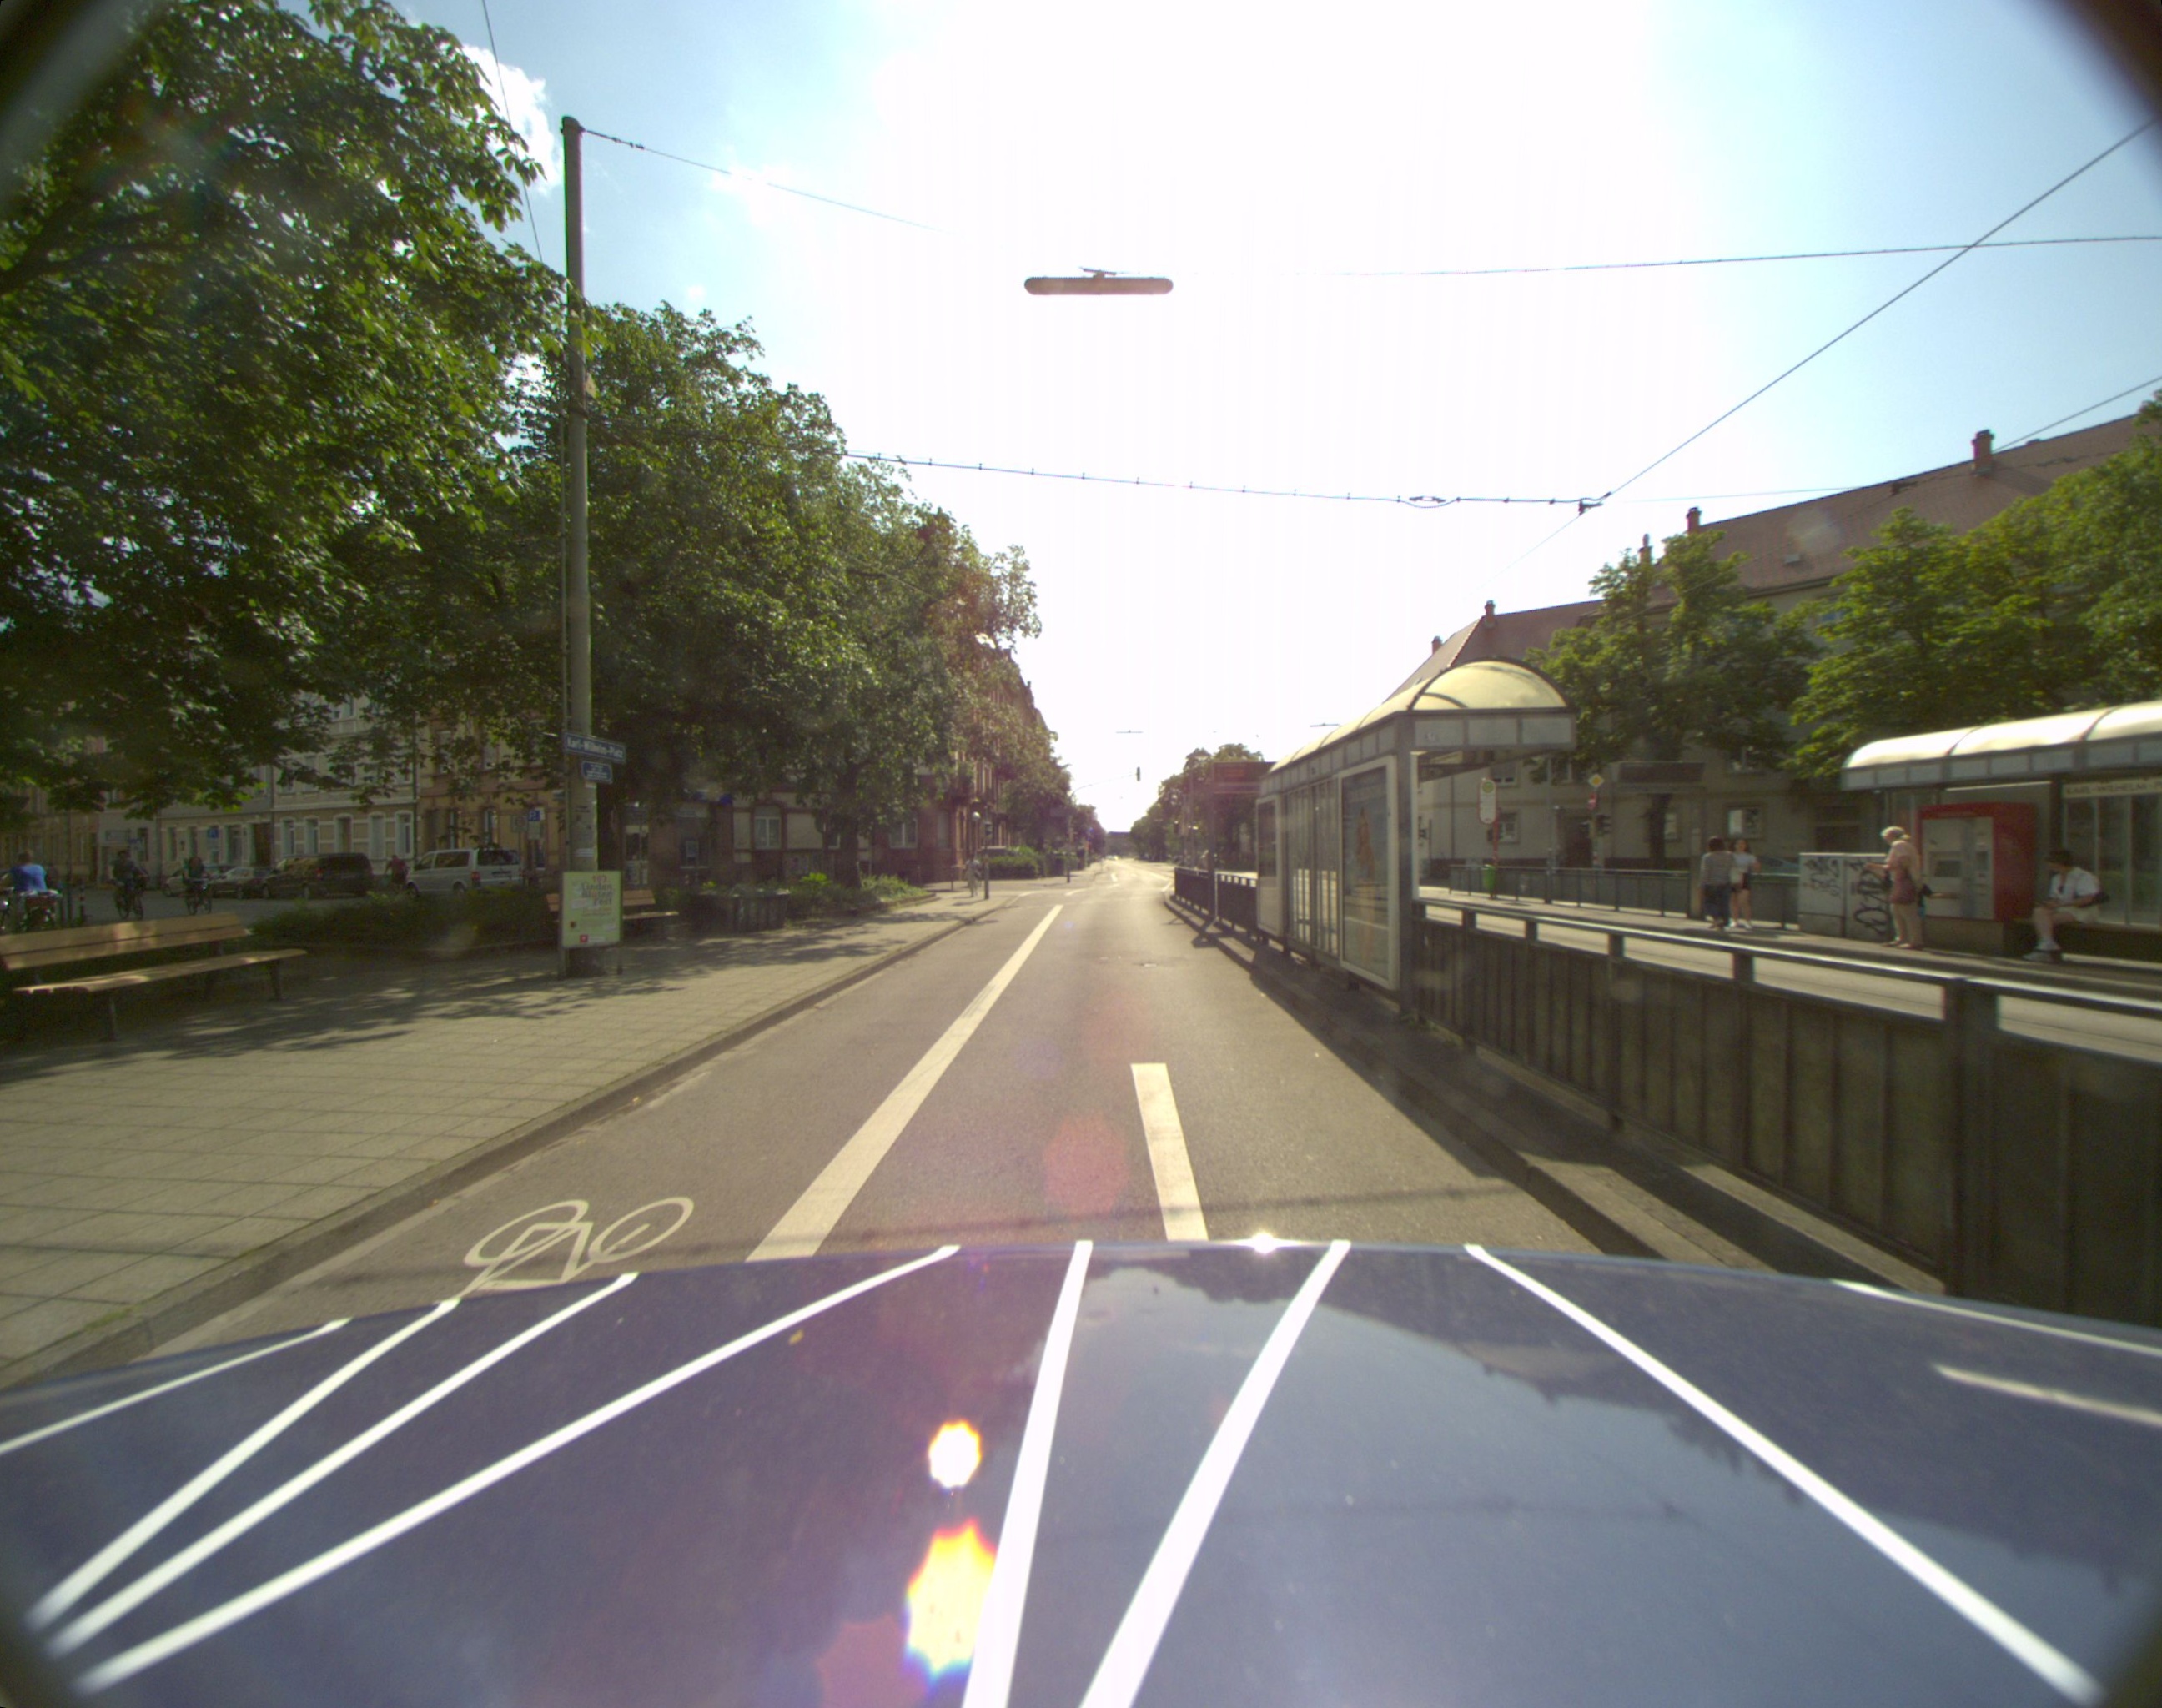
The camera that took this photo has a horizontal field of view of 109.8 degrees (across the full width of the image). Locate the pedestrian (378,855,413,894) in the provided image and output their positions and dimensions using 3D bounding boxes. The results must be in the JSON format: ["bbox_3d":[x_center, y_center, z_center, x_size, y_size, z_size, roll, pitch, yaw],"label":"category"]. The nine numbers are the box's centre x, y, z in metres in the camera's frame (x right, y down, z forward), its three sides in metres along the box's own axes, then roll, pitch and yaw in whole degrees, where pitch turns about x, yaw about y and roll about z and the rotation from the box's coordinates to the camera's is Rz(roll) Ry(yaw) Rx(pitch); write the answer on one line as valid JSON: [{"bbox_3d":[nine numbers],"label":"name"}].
[{"bbox_3d":[-30.407,0.907,33.705,0.760,1.697,0.930,0,1,29],"label":"pedestrian"}]

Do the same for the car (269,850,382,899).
[{"bbox_3d":[-32.491,0.847,32.687,4.306,2.002,2.003,0,1,24],"label":"car"}]

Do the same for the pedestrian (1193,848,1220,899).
[{"bbox_3d":[3.839,0.598,23.268,0.702,1.524,0.557,-2,1,1],"label":"pedestrian"}]

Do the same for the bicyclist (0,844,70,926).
[{"bbox_3d":[-18.557,0.534,13.429,0.634,1.396,0.482,-2,1,0],"label":"bicyclist"}]

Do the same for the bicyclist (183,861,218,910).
[{"bbox_3d":[-24.988,0.887,21.571,0.741,1.364,0.470,-2,2,32],"label":"bicyclist"}]

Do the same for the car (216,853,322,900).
[{"bbox_3d":[-36.981,0.993,34.607,4.306,2.002,2.003,0,1,24],"label":"car"}]

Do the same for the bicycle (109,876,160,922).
[{"bbox_3d":[-25.616,1.209,20.559,1.848,1.187,0.524,-2,1,30],"label":"bicycle"}]

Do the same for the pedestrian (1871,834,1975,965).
[{"bbox_3d":[11.039,0.572,9.983,0.498,1.660,0.678,2,1,-4],"label":"pedestrian"}]

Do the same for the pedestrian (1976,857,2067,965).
[{"bbox_3d":[11.962,0.710,9.675,0.605,1.329,0.406,2,2,-4],"label":"pedestrian"}]

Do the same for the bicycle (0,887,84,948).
[{"bbox_3d":[-18.845,1.125,13.423,1.684,1.000,0.524,-2,1,0],"label":"bicycle"}]

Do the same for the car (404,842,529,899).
[{"bbox_3d":[-23.100,0.583,28.558,4.306,1.975,1.841,0,2,24],"label":"car"}]

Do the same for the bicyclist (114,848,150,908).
[{"bbox_3d":[-25.630,0.639,20.520,0.698,1.589,0.507,-2,-1,31],"label":"bicyclist"}]

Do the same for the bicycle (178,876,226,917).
[{"bbox_3d":[-24.940,1.206,21.553,1.661,1.109,0.524,-2,1,30],"label":"bicycle"}]

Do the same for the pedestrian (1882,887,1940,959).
[{"bbox_3d":[11.082,0.918,10.153,0.340,0.925,0.346,2,1,-5],"label":"pedestrian"}]

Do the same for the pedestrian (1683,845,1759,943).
[{"bbox_3d":[10.838,0.656,12.892,0.657,1.598,0.638,2,1,-4],"label":"pedestrian"}]

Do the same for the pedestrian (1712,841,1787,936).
[{"bbox_3d":[11.849,0.596,13.483,0.657,1.632,0.638,2,1,1],"label":"pedestrian"}]

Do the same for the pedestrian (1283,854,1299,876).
[{"bbox_3d":[14.479,0.768,52.416,0.805,1.465,0.806,0,1,-3],"label":"pedestrian"}]

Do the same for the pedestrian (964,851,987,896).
[{"bbox_3d":[-3.965,0.713,28.578,0.707,1.645,0.534,-2,1,1],"label":"pedestrian"}]

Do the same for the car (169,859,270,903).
[{"bbox_3d":[-41.183,1.251,36.324,4.306,2.002,2.003,0,1,24],"label":"car"}]

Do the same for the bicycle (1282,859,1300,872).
[{"bbox_3d":[14.472,0.805,52.461,0.755,0.844,1.618,-1,0,-3],"label":"bicycle"}]

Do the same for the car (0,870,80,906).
[{"bbox_3d":[-62.993,2.027,45.788,5.583,2.002,2.003,0,1,24],"label":"car"}]
